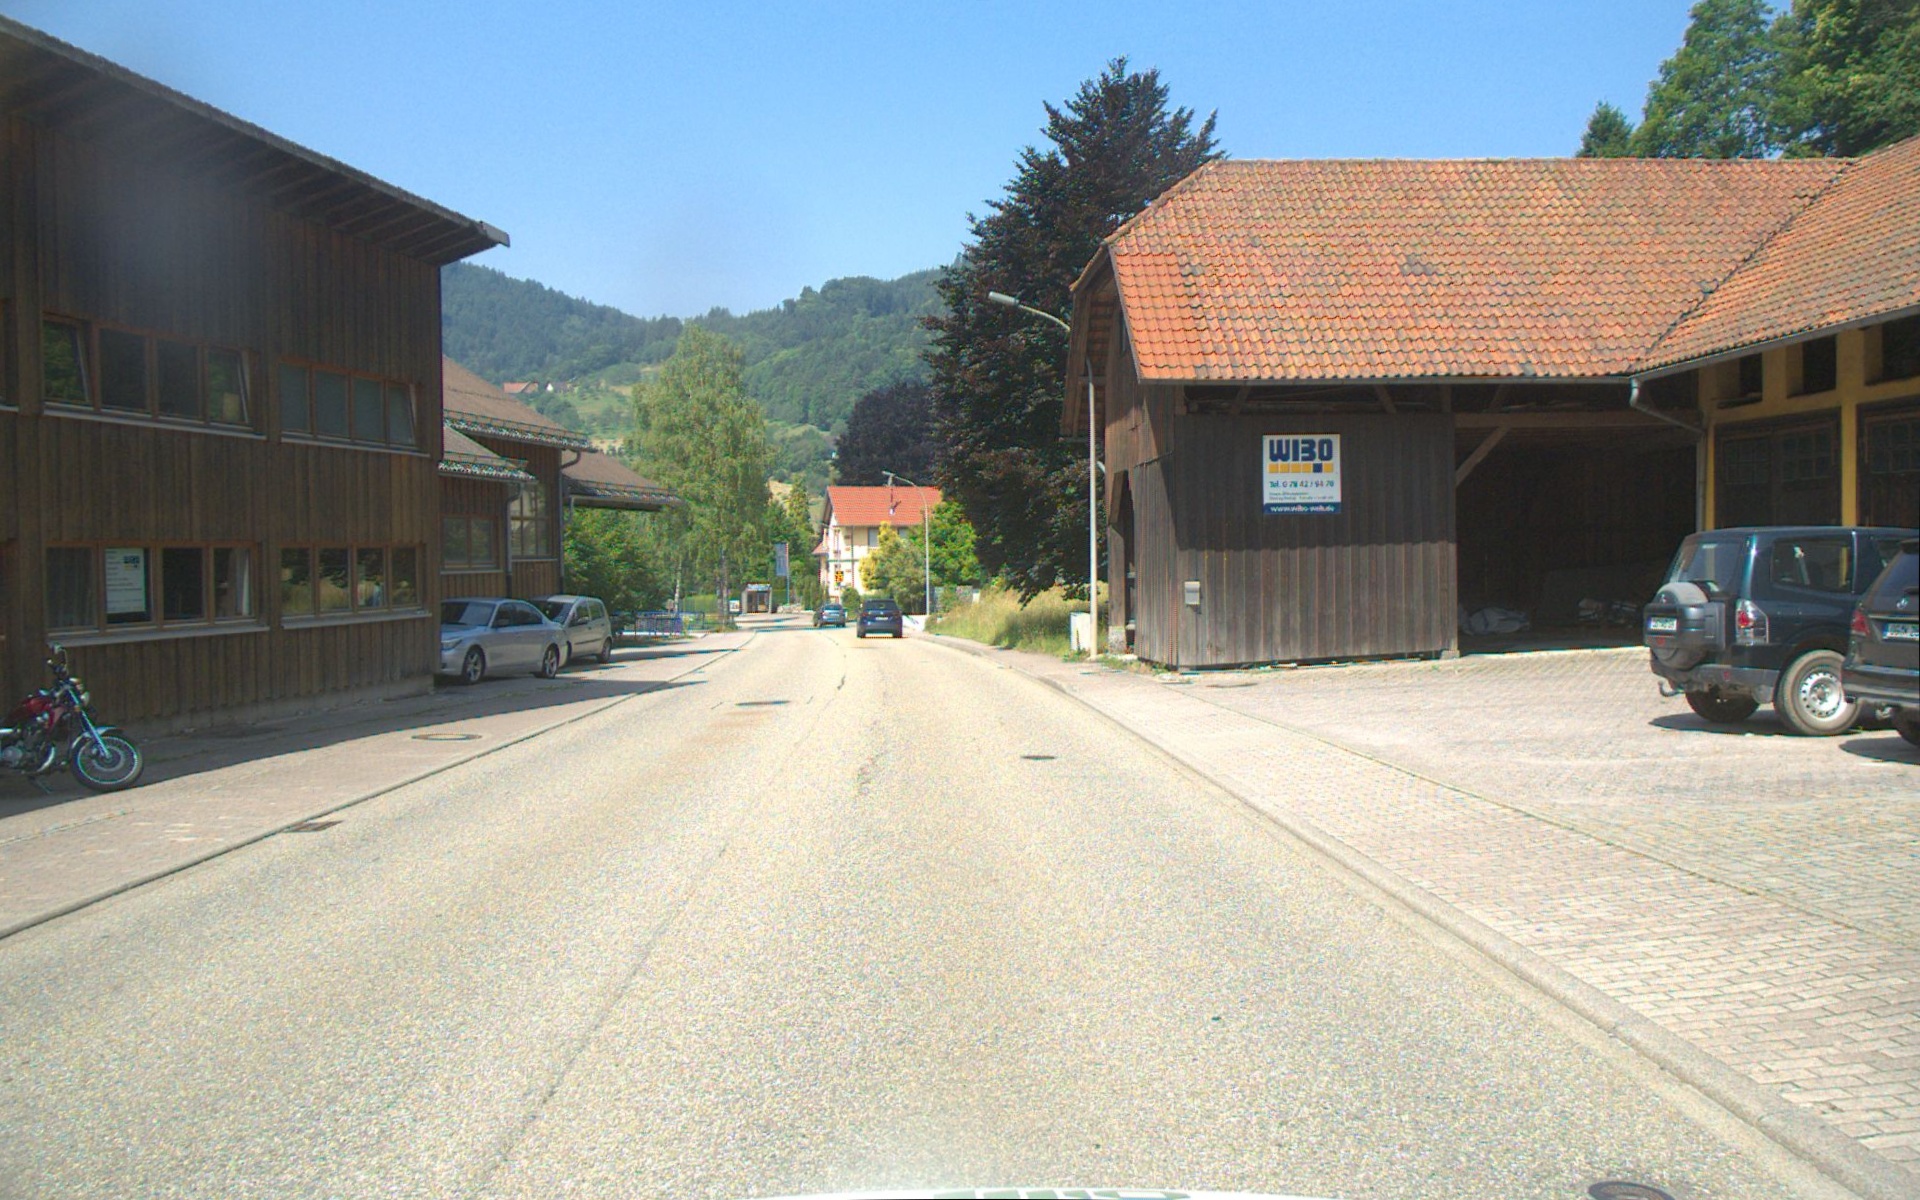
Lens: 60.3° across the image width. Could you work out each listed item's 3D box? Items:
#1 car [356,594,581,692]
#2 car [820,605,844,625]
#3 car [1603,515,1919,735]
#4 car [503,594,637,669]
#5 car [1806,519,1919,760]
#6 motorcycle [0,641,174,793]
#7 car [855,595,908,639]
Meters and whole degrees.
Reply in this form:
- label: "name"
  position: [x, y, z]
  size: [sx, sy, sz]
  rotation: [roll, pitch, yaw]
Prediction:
- label: "car"
  position: [-8.487, 0.684, 29.078]
  size: [1.692, 1.479, 4.809]
  rotation: [0, 1, 12]
- label: "car"
  position: [-8.271, 0.945, 106.915]
  size: [1.448, 1.230, 2.381]
  rotation: [-2, 0, -6]
- label: "car"
  position: [8.495, 0.175, 15.606]
  size: [4.046, 1.864, 1.952]
  rotation: [-2, 0, -5]
- label: "car"
  position: [-9.103, 0.698, 38.936]
  size: [1.547, 1.597, 4.026]
  rotation: [2, 1, 10]
- label: "car"
  position: [9.221, 0.218, 12.856]
  size: [4.335, 1.790, 1.950]
  rotation: [-2, 0, -7]
- label: "motorcycle"
  position: [-8.439, 1.052, 14.948]
  size: [2.357, 1.286, 0.744]
  rotation: [-2, 0, 8]
- label: "car"
  position: [-3.346, 0.708, 69.937]
  size: [1.883, 1.728, 3.782]
  rotation: [-2, 0, -8]
